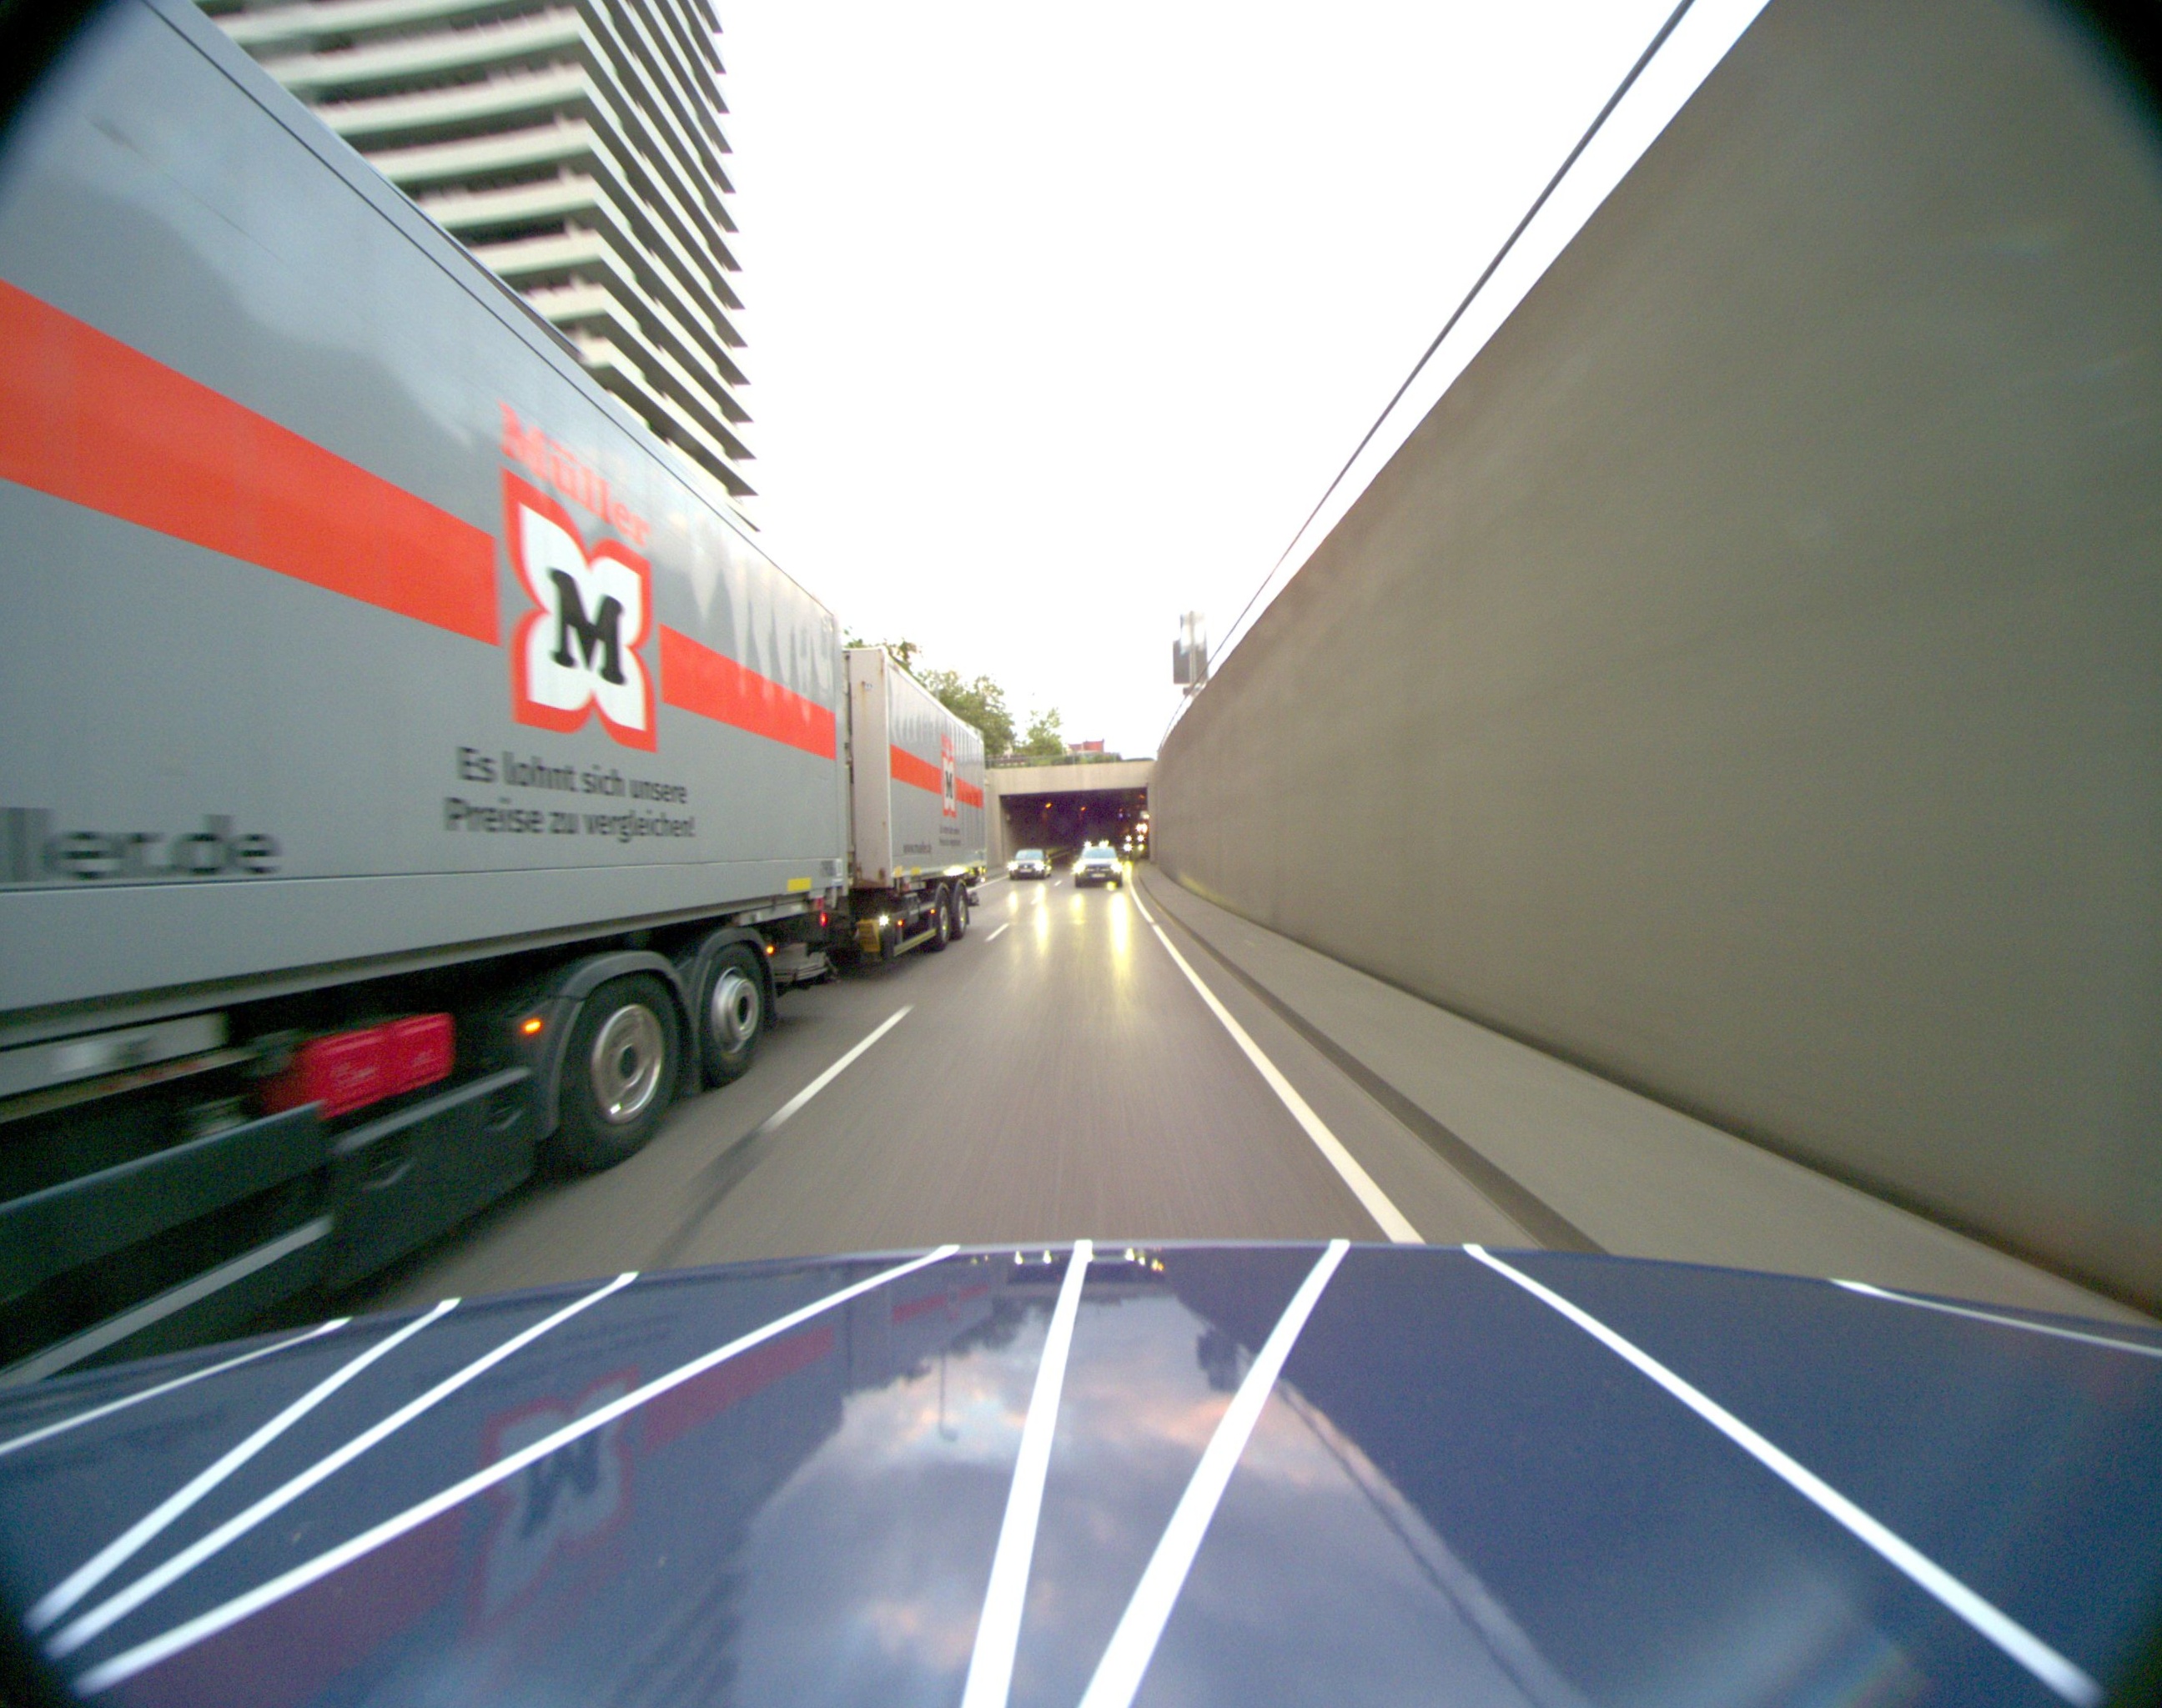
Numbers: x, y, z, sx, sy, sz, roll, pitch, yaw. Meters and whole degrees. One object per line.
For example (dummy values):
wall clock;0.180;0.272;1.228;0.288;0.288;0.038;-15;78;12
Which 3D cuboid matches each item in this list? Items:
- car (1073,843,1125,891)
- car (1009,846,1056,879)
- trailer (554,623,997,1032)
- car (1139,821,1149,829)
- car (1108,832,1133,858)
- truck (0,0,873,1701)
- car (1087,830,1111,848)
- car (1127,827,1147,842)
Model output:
car;0.781;0.444;30.089;1.819;1.590;3.999;-2;2;4
car;-2.282;0.394;36.711;1.734;1.395;3.799;-2;1;4
trailer;-3.481;-0.297;11.903;2.882;3.836;8.947;-3;1;2
car;14.545;-6.670;175.214;1.998;1.674;3.999;-4;1;3
car;3.127;-0.727;59.649;1.714;1.729;3.999;-4;3;4
truck;-3.706;-0.169;2.456;2.896;3.891;9.908;-3;1;1
car;1.813;-1.476;75.279;1.734;1.565;4.001;-4;1;8
car;6.680;-2.362;90.439;1.997;1.576;4.653;-4;1;8
